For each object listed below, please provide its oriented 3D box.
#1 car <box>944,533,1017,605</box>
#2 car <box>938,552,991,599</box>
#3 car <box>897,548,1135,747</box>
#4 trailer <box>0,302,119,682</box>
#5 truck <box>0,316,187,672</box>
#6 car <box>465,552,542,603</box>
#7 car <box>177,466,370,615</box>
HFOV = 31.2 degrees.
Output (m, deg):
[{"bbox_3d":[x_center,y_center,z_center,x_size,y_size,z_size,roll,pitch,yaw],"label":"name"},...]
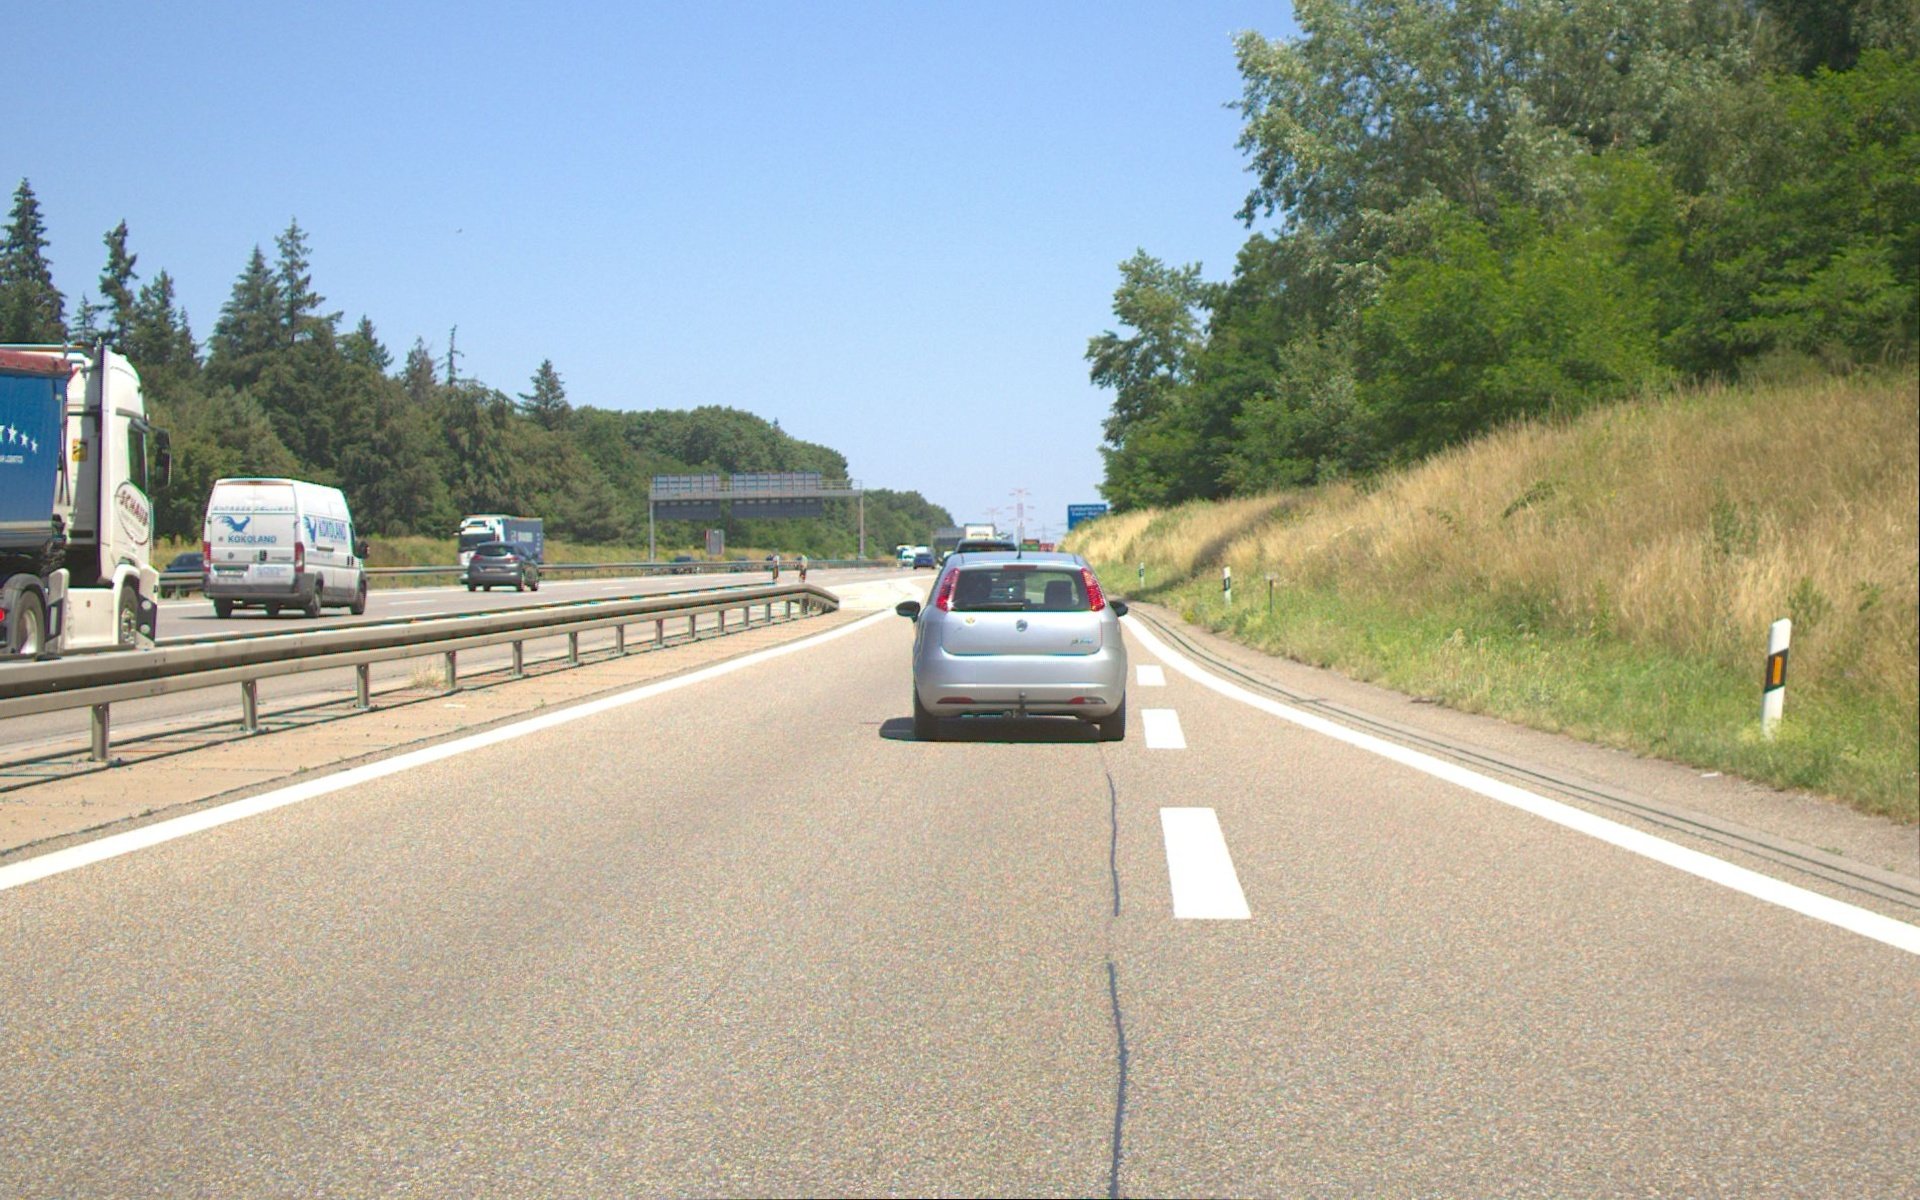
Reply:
[{"bbox_3d":[0.476,-0.722,83.126,1.706,1.670,3.397,0,-1,-1],"label":"car"},{"bbox_3d":[0.146,-0.814,114.156,1.706,1.503,3.397,0,-1,-1],"label":"car"},{"bbox_3d":[0.397,0.335,27.792,1.706,1.476,3.398,0,1,-3],"label":"car"},{"bbox_3d":[-11.014,-1.058,33.593,2.771,3.794,9.885,0,1,2],"label":"trailer"},{"bbox_3d":[-10.778,-1.172,39.047,2.756,3.794,4.621,0,1,3],"label":"truck"},{"bbox_3d":[-15.111,-0.737,113.853,1.993,1.612,4.000,0,0,0],"label":"car"},{"bbox_3d":[-13.942,-1.151,70.287,2.632,2.887,6.475,0,0,0],"label":"car"}]
